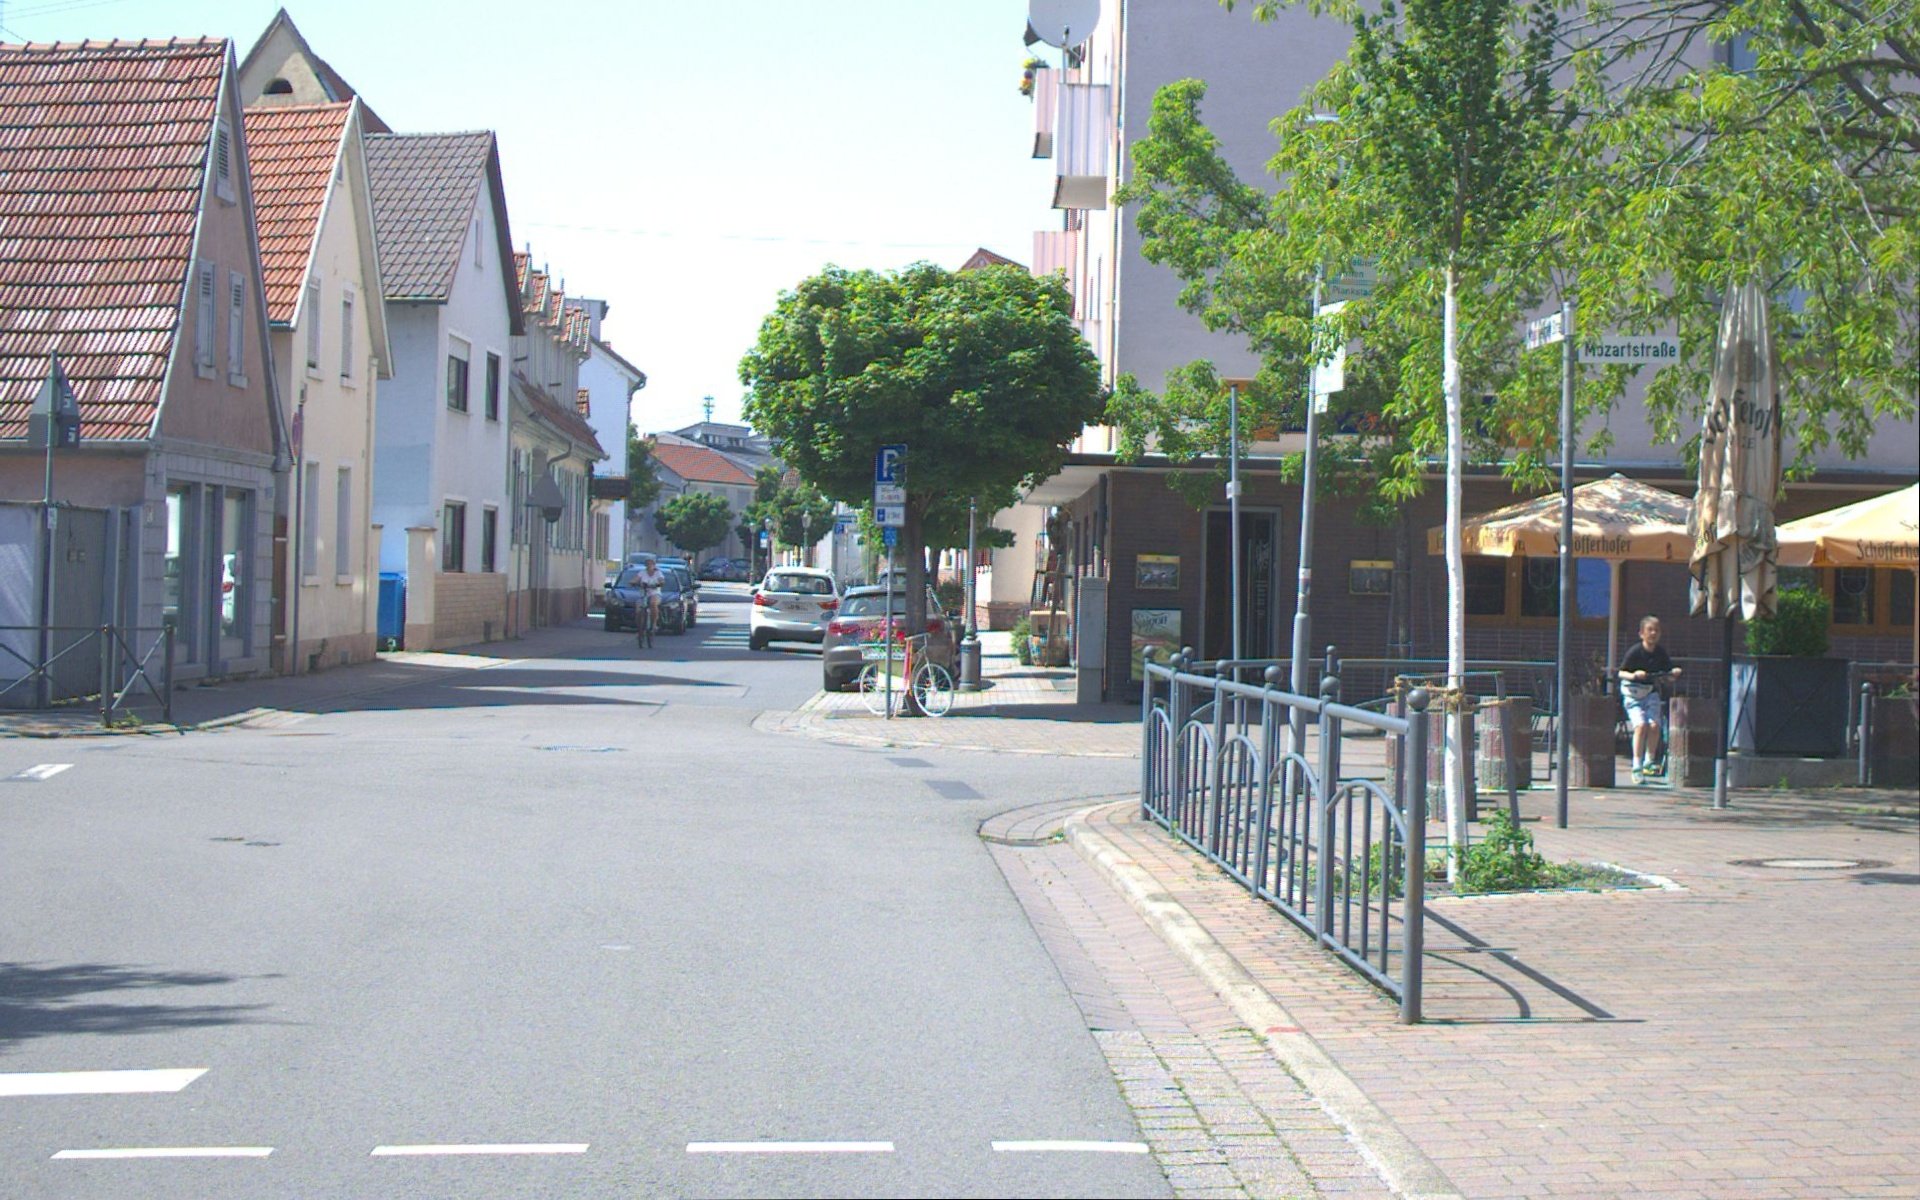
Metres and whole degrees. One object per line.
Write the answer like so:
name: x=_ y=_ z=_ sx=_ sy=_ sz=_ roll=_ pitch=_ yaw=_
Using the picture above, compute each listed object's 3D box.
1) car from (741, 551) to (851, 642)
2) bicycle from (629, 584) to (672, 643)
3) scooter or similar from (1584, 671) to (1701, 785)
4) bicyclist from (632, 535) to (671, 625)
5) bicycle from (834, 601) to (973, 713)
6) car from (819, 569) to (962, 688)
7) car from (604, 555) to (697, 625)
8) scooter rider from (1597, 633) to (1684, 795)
car: x=-3.126 y=-0.077 z=66.142 sx=1.834 sy=1.646 sz=4.000 roll=1 pitch=0 yaw=1
bicycle: x=-5.817 y=0.243 z=64.679 sx=0.674 sy=1.090 sz=1.896 roll=0 pitch=0 yaw=-1
scooter or similar: x=5.502 y=1.027 z=27.750 sx=0.379 sy=0.870 sz=0.890 roll=1 pitch=0 yaw=-35
bicyclist: x=-5.802 y=-0.380 z=64.672 sx=0.669 sy=1.685 sz=0.761 roll=0 pitch=0 yaw=-1
bicycle: x=-0.646 y=0.632 z=38.634 sx=0.525 sy=1.189 sz=1.674 roll=1 pitch=0 yaw=-44
car: x=-0.917 y=0.361 z=47.406 sx=1.805 sy=1.496 sz=4.000 roll=1 pitch=1 yaw=1
car: x=-7.020 y=-0.229 z=78.181 sx=1.714 sy=1.512 sz=3.786 roll=1 pitch=0 yaw=0
scooter rider: x=5.498 y=0.917 z=27.761 sx=0.516 sy=1.281 sz=0.418 roll=1 pitch=0 yaw=-35
